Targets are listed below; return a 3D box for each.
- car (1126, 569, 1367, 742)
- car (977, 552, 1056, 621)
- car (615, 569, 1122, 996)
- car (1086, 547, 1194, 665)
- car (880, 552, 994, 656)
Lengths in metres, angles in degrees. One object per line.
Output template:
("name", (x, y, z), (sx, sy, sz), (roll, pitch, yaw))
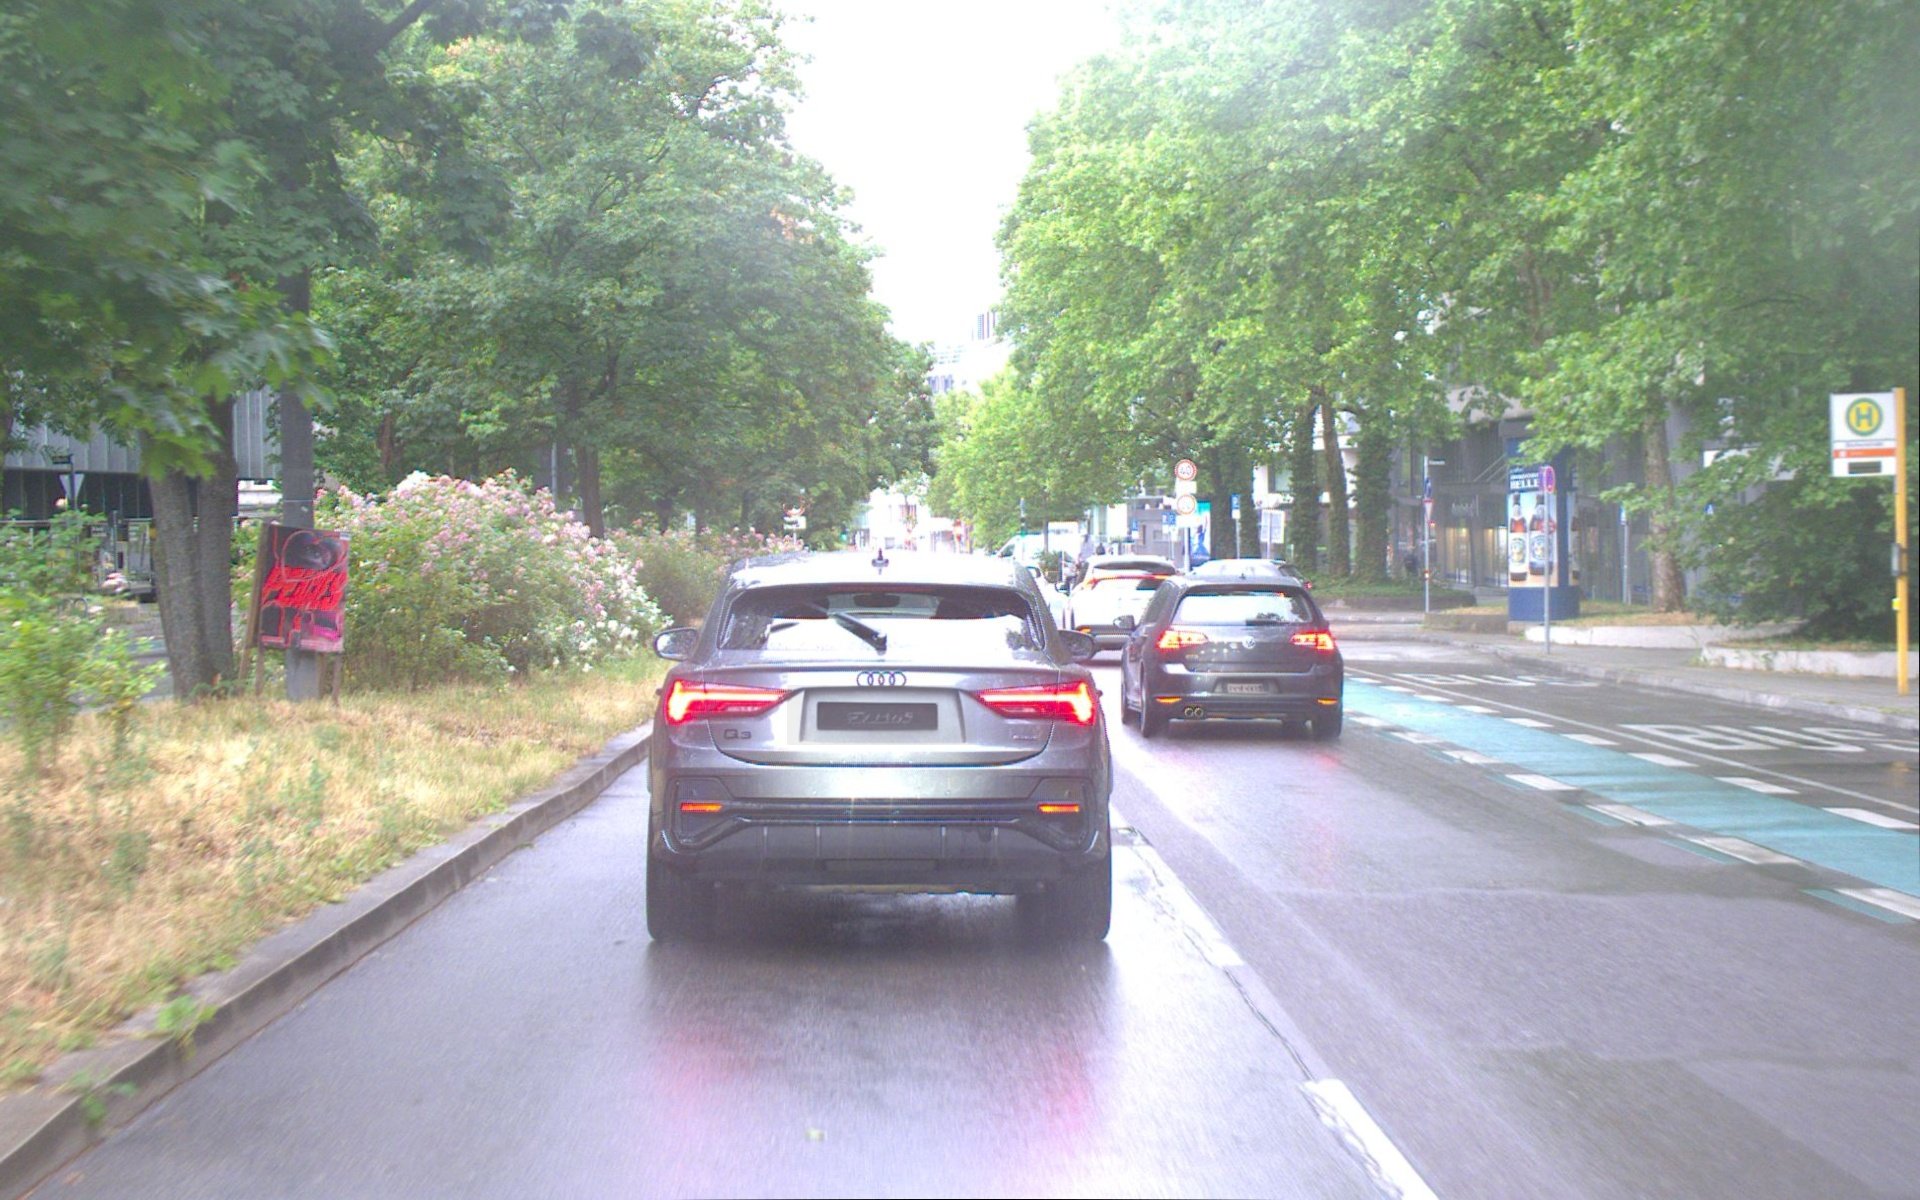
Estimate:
("car", (2.537, 0.453, 31.245), (1.765, 1.408, 4.000), (-1, 1, -1))
("car", (1.471, -0.378, 91.554), (1.993, 1.744, 4.000), (-1, 1, 0))
("car", (-0.313, 0.653, 14.919), (1.863, 1.527, 4.527), (0, 1, 1))
("car", (2.686, 0.065, 51.687), (1.433, 1.679, 2.979), (-1, 1, 0))
("car", (-0.382, 0.034, 54.644), (1.721, 1.572, 3.962), (0, 1, -1))
